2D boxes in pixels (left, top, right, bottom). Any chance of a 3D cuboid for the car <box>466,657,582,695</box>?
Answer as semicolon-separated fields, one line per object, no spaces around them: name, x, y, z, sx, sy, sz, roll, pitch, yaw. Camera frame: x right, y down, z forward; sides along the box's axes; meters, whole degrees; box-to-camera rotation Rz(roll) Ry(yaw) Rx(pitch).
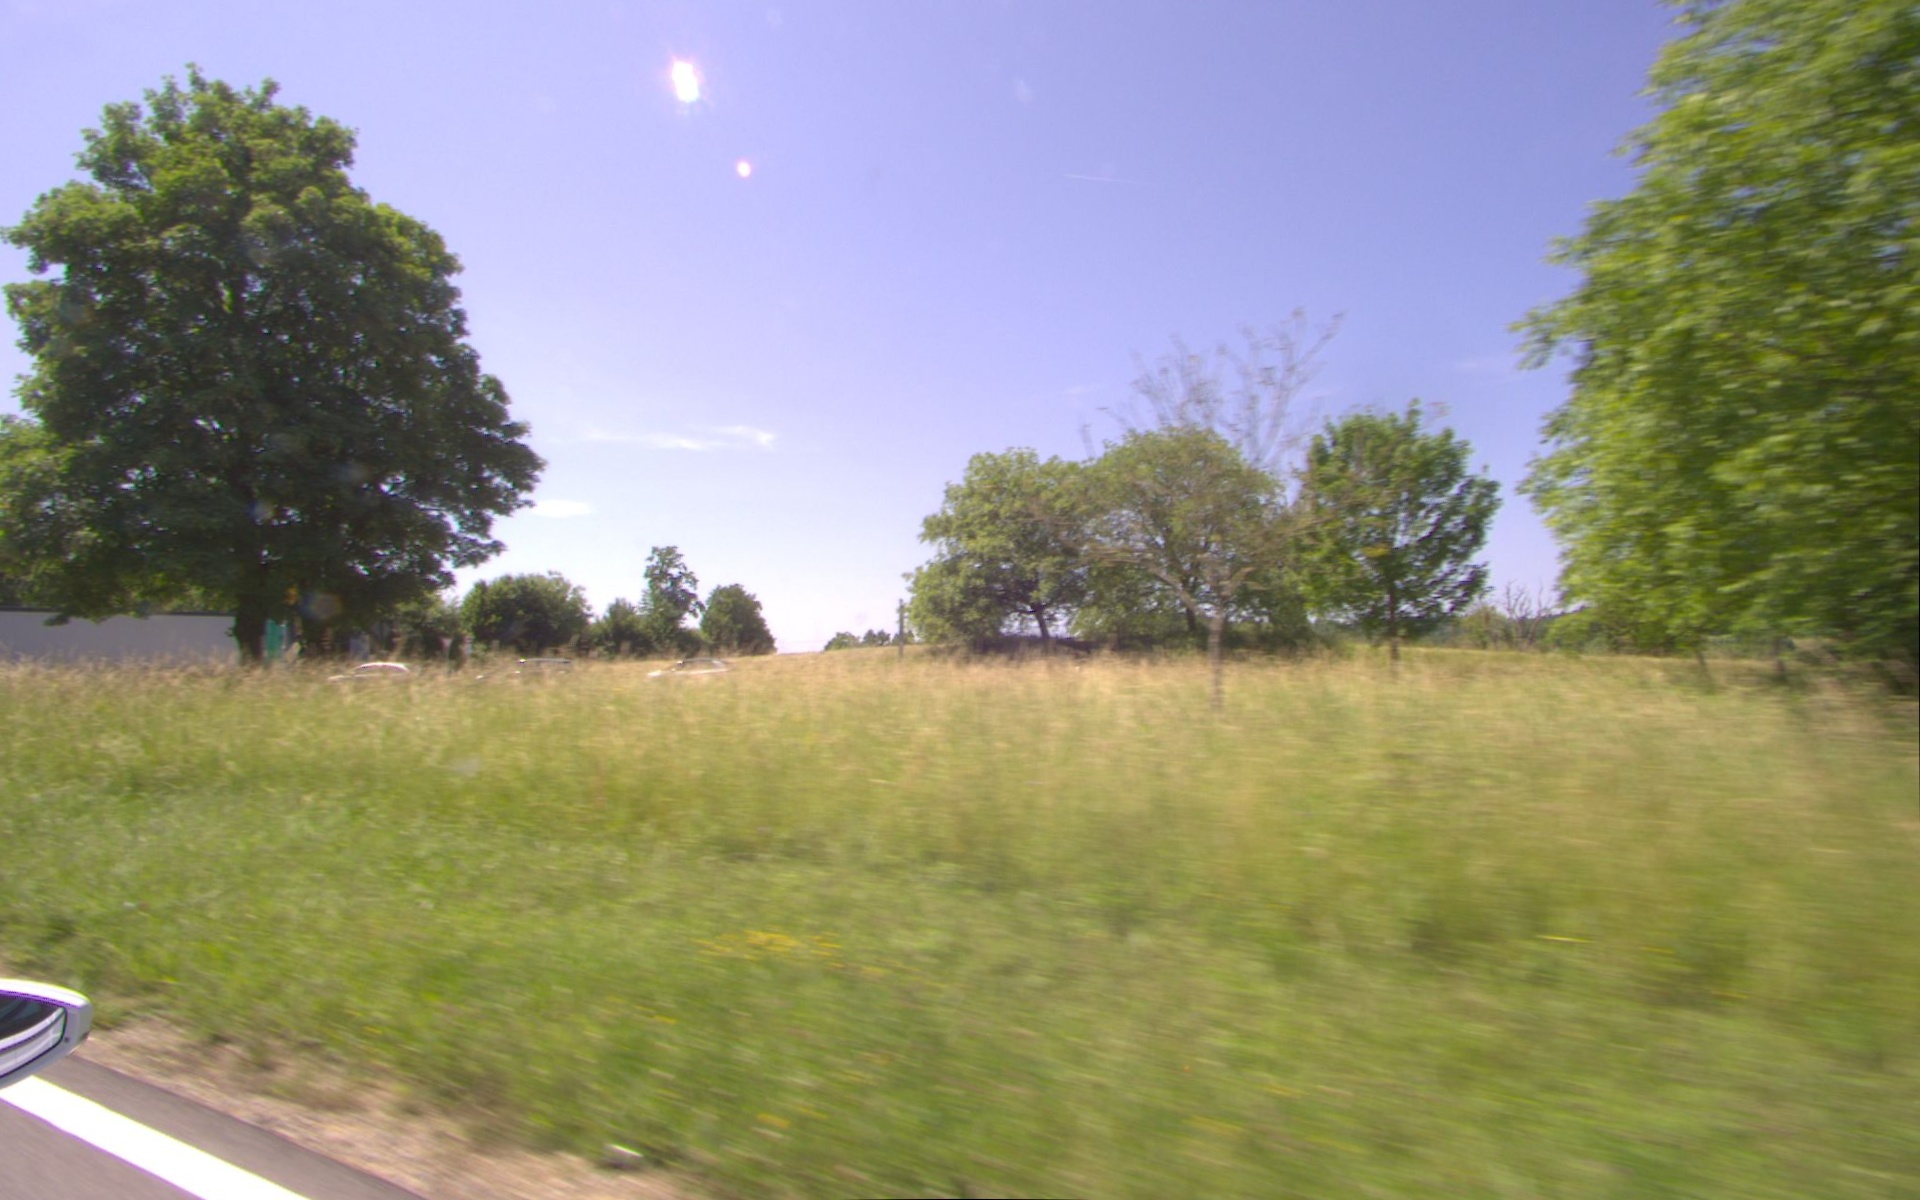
car;-18.970;3.291;43.705;4.297;1.573;1.730;0;-2;0

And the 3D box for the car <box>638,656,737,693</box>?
car;-12.076;3.279;44.463;3.943;1.573;1.656;0;-2;0

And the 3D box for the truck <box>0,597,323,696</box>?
truck;-40.039;2.219;48.406;3.085;4.225;16.640;-2;-3;25
